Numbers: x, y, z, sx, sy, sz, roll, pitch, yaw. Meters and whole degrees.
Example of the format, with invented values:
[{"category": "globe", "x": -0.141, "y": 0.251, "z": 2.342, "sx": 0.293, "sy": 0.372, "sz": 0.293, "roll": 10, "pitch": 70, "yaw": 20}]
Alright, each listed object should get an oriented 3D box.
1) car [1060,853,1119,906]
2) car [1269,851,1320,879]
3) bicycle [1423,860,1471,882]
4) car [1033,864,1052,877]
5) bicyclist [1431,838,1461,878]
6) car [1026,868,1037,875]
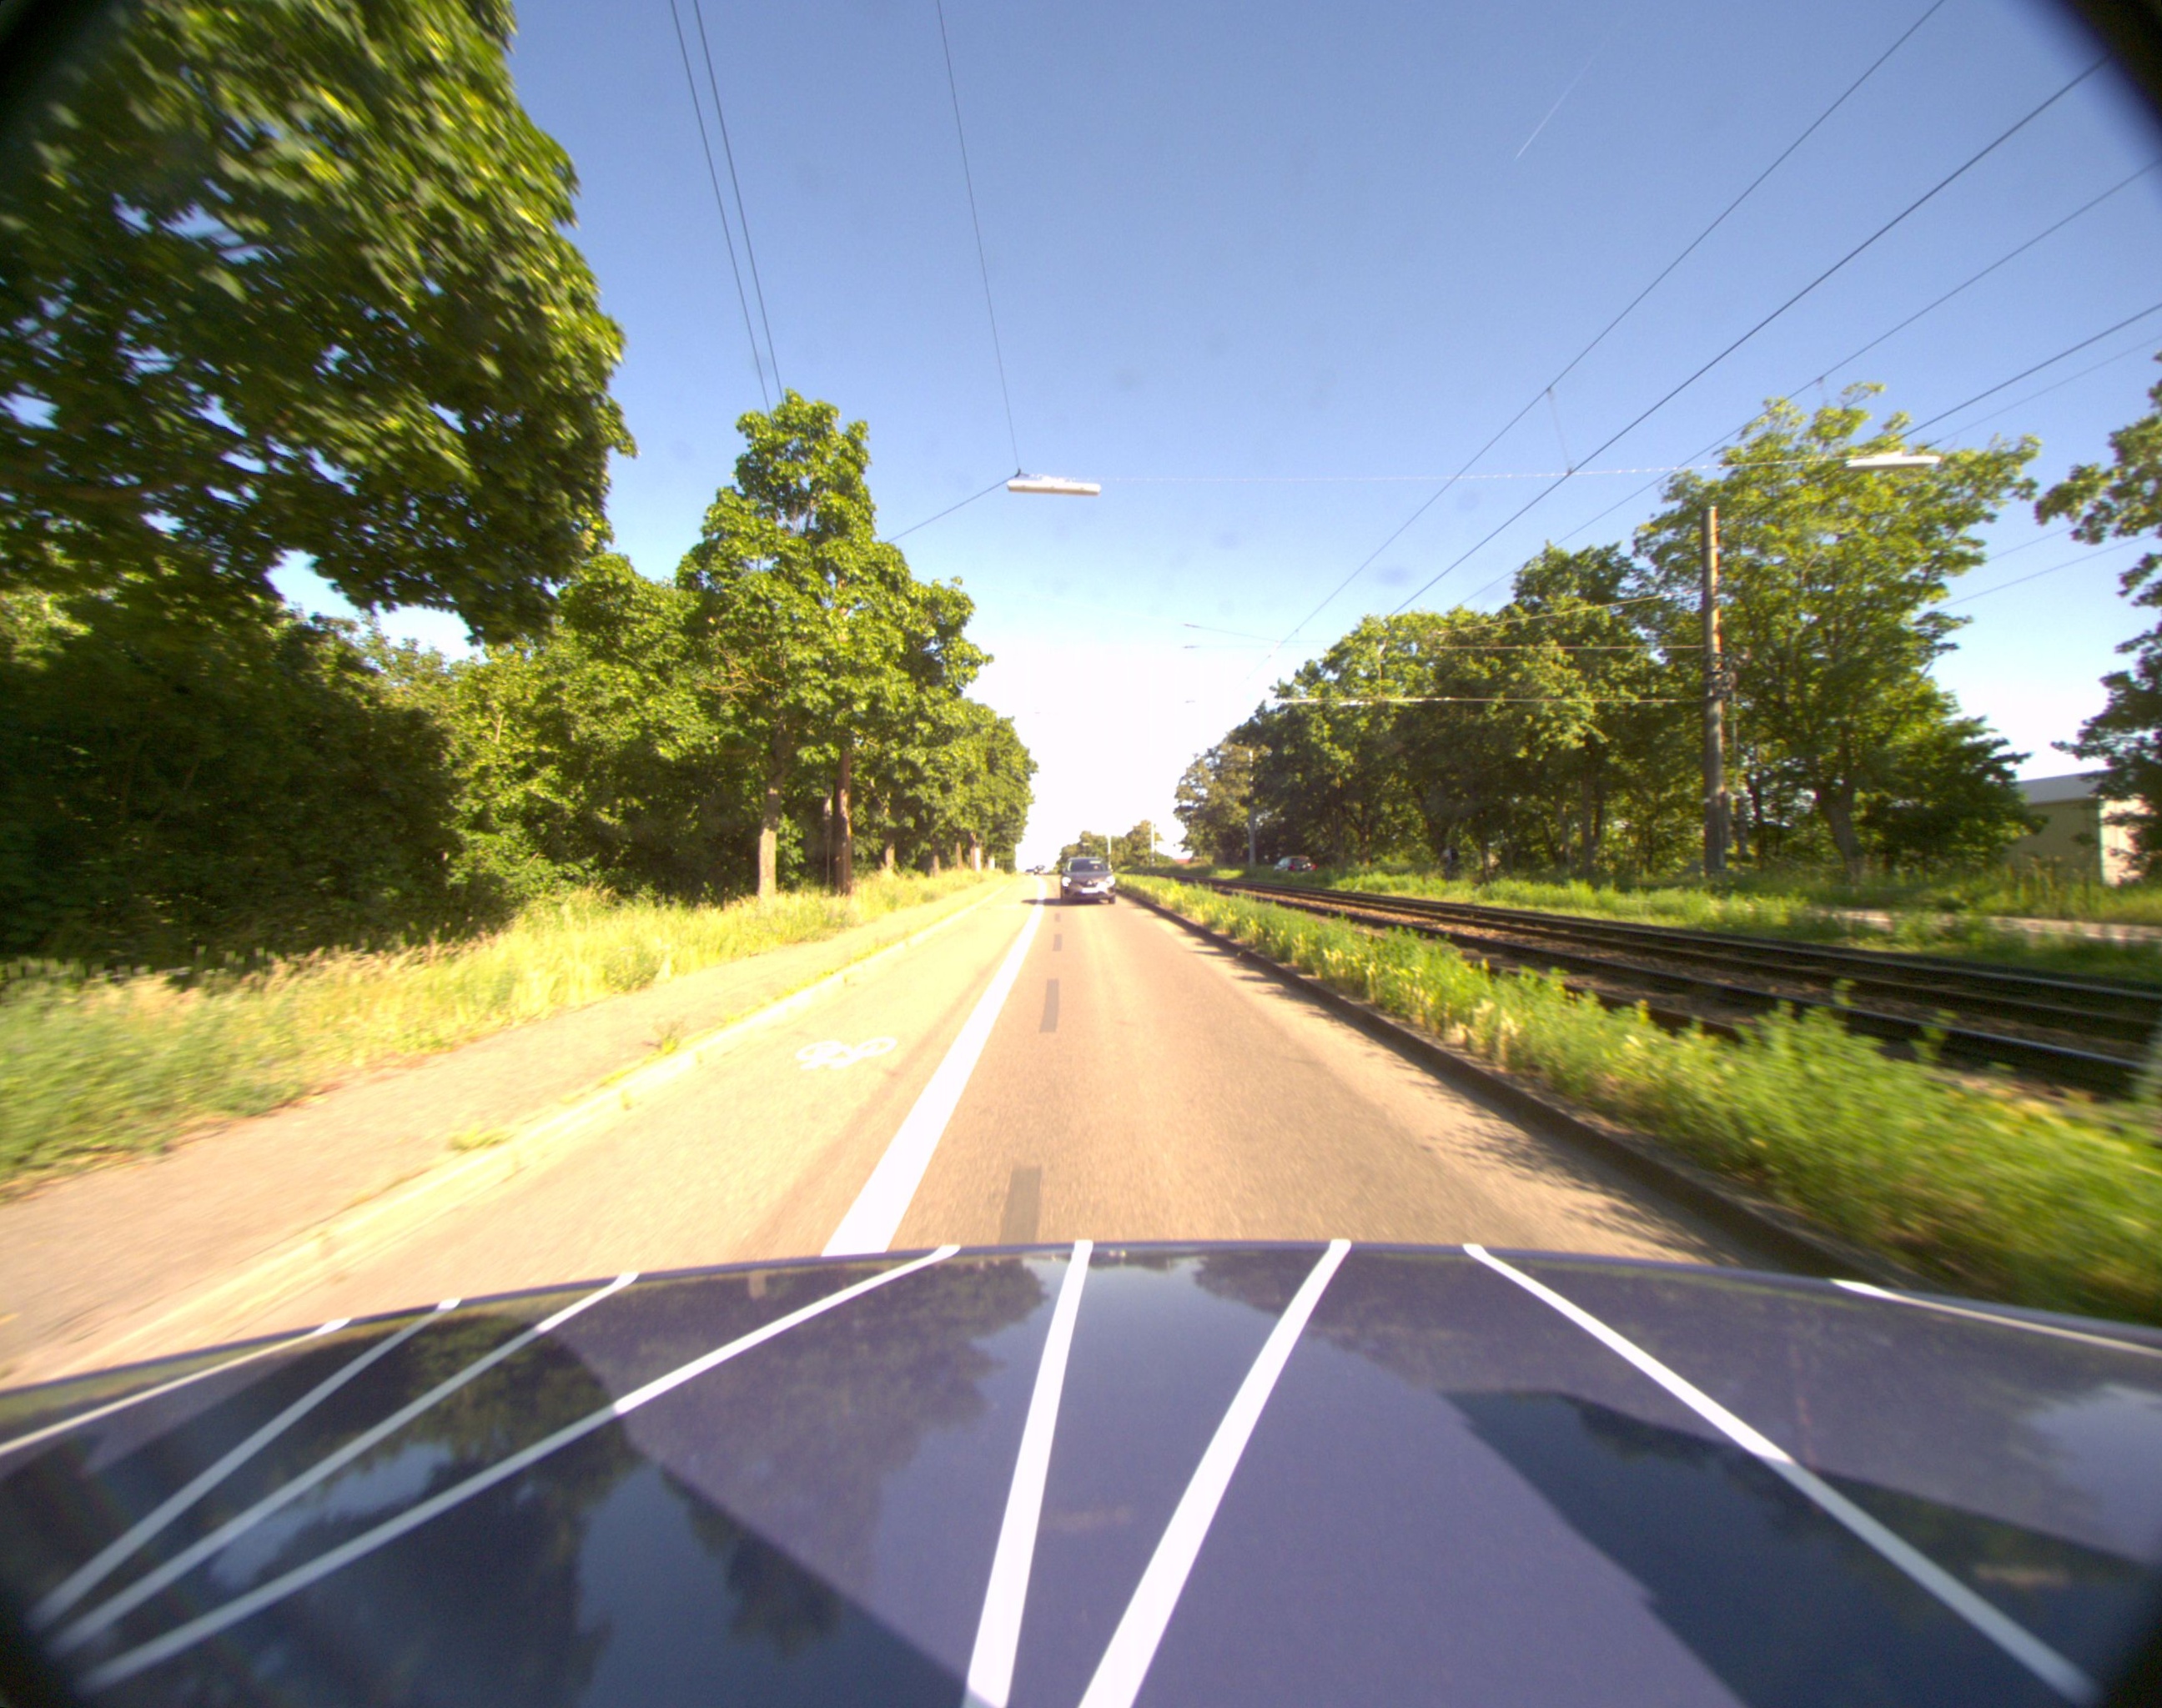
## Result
[{"category": "car", "x": 0.219, "y": 0.825, "z": 26.386, "sx": 1.822, "sy": 1.589, "sz": 4.412, "roll": -2, "pitch": 0, "yaw": -1}, {"category": "car", "x": 12.406, "y": 0.621, "z": 44.476, "sx": 1.715, "sy": 1.470, "sz": 3.999, "roll": -2, "pitch": 0, "yaw": -2}, {"category": "bicycle", "x": 16.083, "y": 0.721, "z": 33.485, "sx": 0.820, "sy": 0.909, "sz": 2.537, "roll": -2, "pitch": 0, "yaw": -1}, {"category": "car", "x": -5.092, "y": 2.106, "z": 100.051, "sx": 2.000, "sy": 1.577, "sz": 3.997, "roll": -2, "pitch": 0, "yaw": -8}, {"category": "bicyclist", "x": 16.064, "y": 0.168, "z": 33.483, "sx": 0.821, "sy": 1.726, "sz": 0.902, "roll": -2, "pitch": 0, "yaw": -1}, {"category": "car", "x": -11.162, "y": 3.937, "z": 171.552, "sx": 2.000, "sy": 1.577, "sz": 3.996, "roll": -2, "pitch": 0, "yaw": -10}]
